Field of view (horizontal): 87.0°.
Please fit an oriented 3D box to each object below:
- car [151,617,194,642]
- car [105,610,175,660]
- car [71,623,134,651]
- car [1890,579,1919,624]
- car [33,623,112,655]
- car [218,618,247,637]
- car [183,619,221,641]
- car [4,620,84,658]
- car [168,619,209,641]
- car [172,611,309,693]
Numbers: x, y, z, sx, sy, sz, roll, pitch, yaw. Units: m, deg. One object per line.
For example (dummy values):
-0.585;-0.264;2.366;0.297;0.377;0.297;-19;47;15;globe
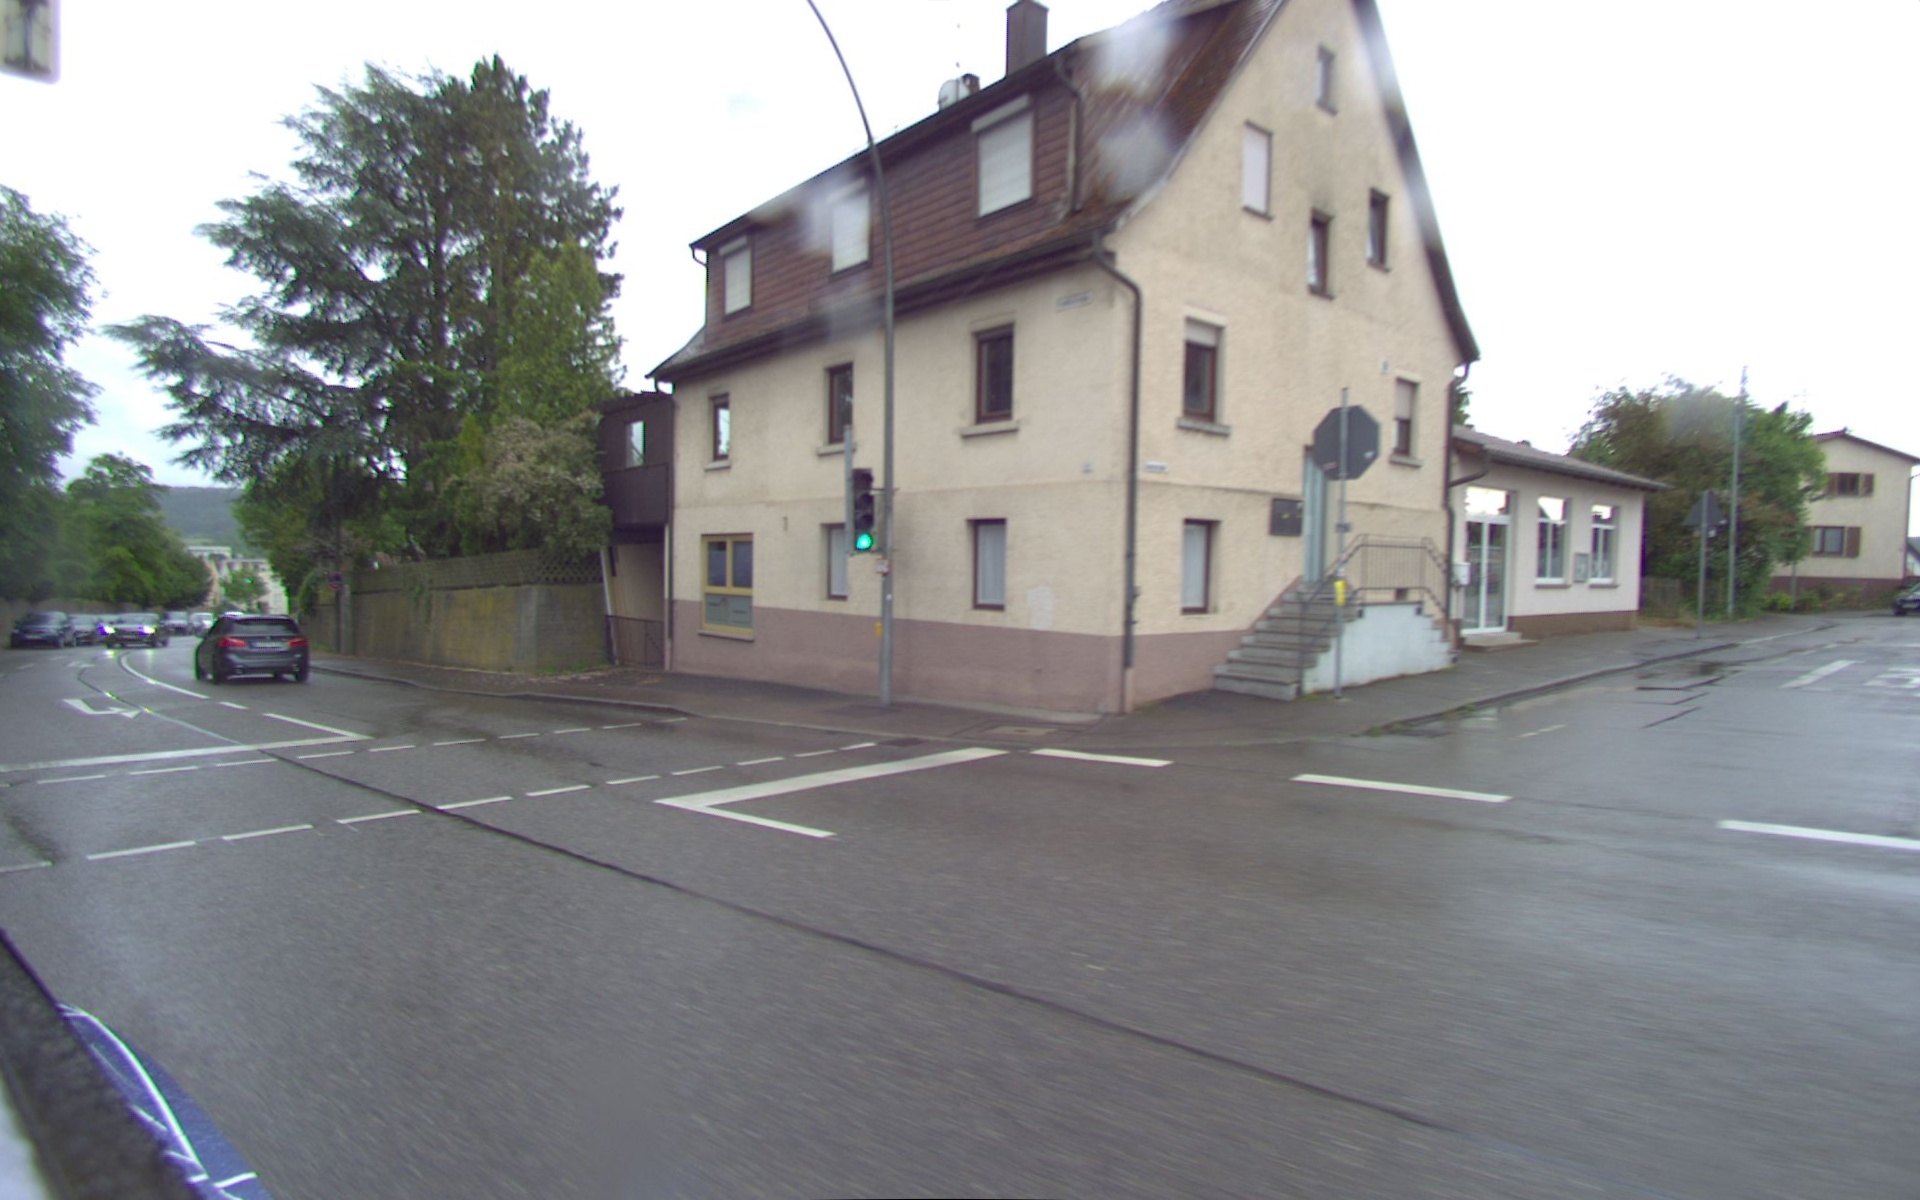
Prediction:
-54.283;2.031;69.824;1.803;1.642;4.165;1;-2;-31;car
-36.645;1.512;45.323;1.966;2.029;4.011;0;0;-33;car
-44.727;1.908;52.862;1.735;1.430;4.166;1;-2;-30;car
39.521;0.090;40.337;3.931;1.763;2.006;1;-1;-20;car
-41.831;1.801;47.796;1.966;1.430;4.498;1;-2;-31;car
-71.626;2.704;99.691;1.917;1.807;4.199;1;-1;-30;car
-60.517;2.384;80.870;1.803;1.642;4.166;1;-2;-29;car
-38.882;1.620;43.038;1.765;1.544;3.811;1;-2;-31;car
-57.347;2.229;75.280;1.803;1.642;4.166;1;-2;-29;car
-16.806;1.142;23.569;1.971;1.719;4.002;1;-1;-45;car
